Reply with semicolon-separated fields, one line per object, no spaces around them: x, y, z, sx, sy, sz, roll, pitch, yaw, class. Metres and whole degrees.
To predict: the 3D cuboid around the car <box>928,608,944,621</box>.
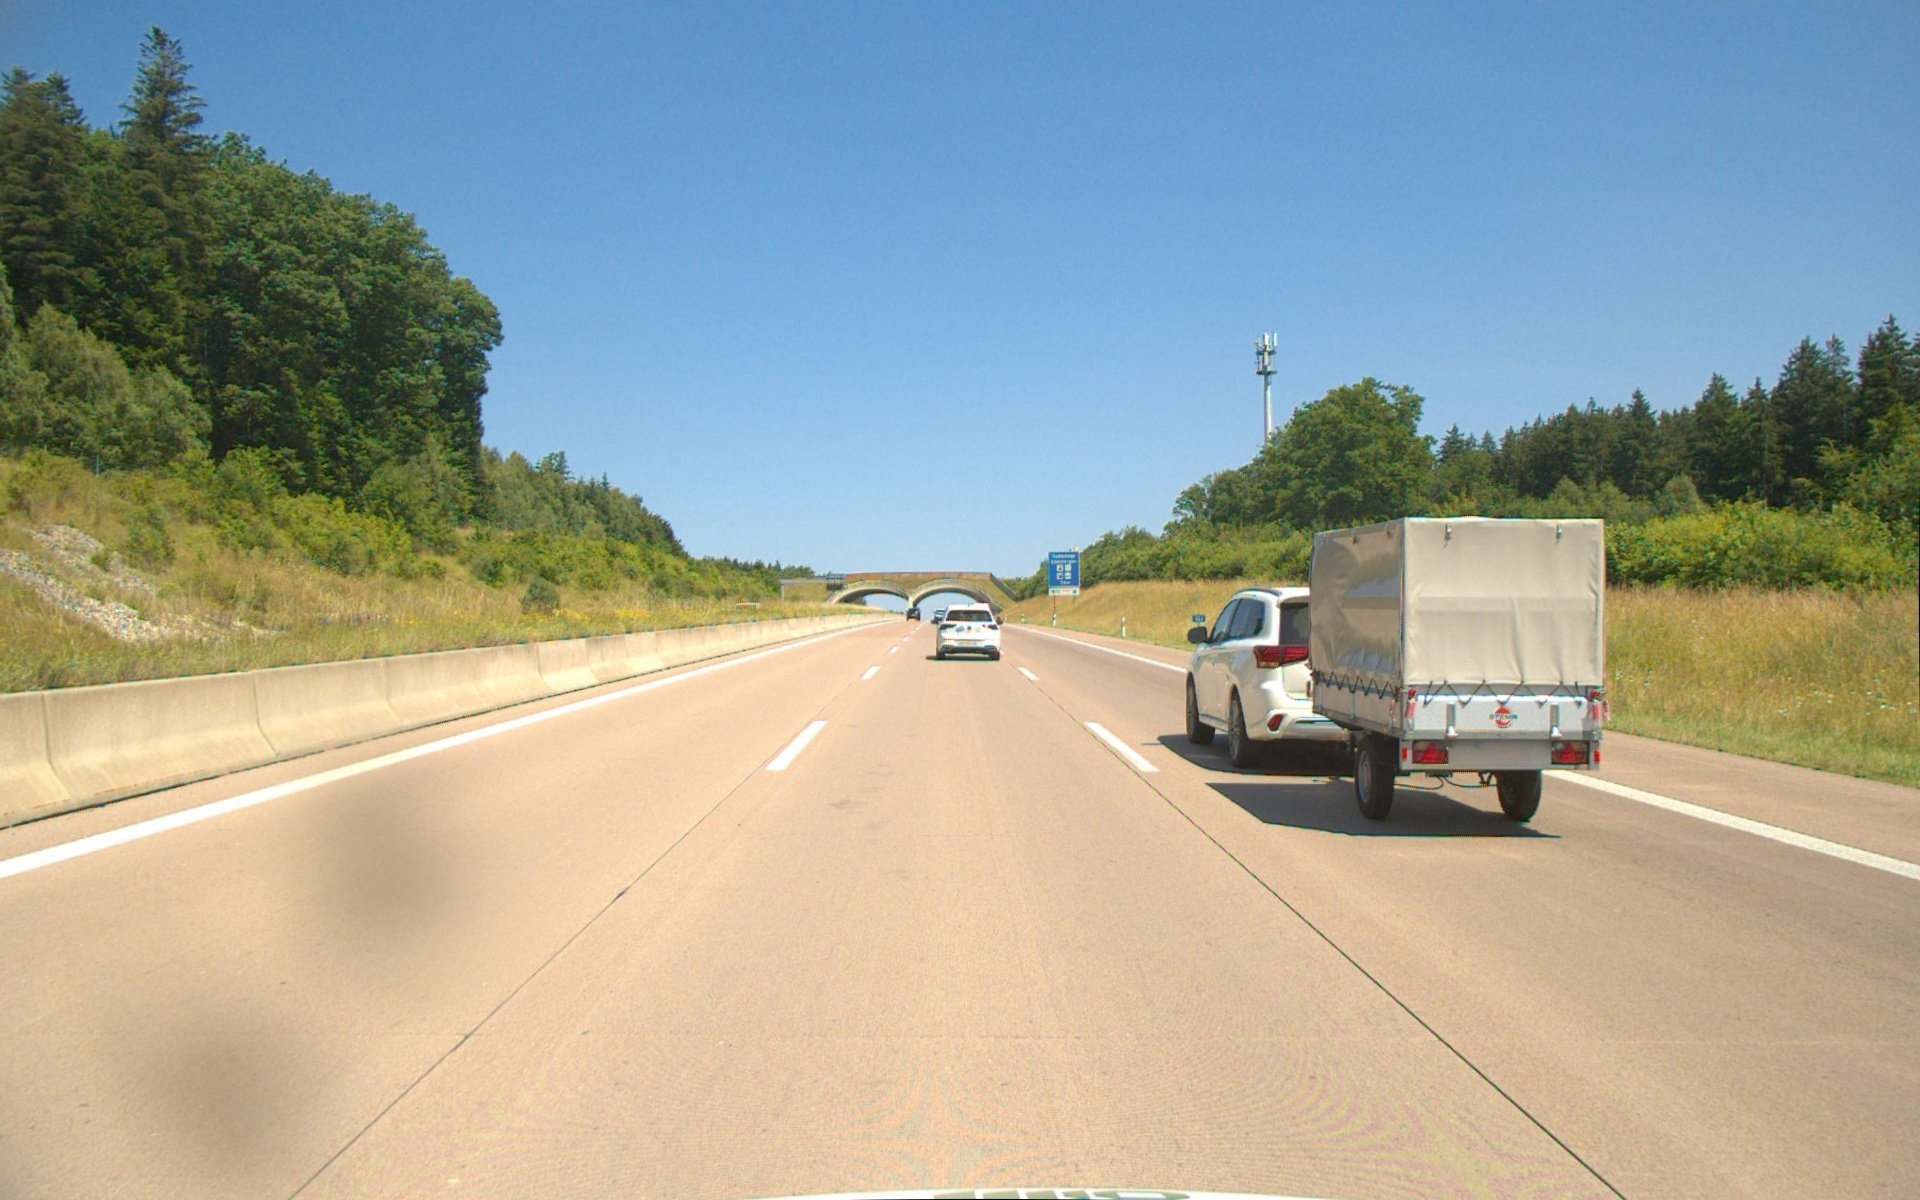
-2.929;1.810;203.232;1.852;1.489;4.000;1;0;0;car

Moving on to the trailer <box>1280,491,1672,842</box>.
3.645;0.422;12.429;1.624;2.202;4.015;0;0;-1;trailer

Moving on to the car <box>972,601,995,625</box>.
2.180;1.199;153.597;2.067;2.090;4.001;0;0;1;car

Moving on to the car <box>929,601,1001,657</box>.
0.177;0.748;45.265;1.852;1.422;4.001;1;0;1;car

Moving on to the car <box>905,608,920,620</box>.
-6.476;1.916;225.189;1.852;1.489;4.001;0;0;1;car

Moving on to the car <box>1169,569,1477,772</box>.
3.494;0.612;16.984;1.853;1.758;5.184;0;0;-2;car
